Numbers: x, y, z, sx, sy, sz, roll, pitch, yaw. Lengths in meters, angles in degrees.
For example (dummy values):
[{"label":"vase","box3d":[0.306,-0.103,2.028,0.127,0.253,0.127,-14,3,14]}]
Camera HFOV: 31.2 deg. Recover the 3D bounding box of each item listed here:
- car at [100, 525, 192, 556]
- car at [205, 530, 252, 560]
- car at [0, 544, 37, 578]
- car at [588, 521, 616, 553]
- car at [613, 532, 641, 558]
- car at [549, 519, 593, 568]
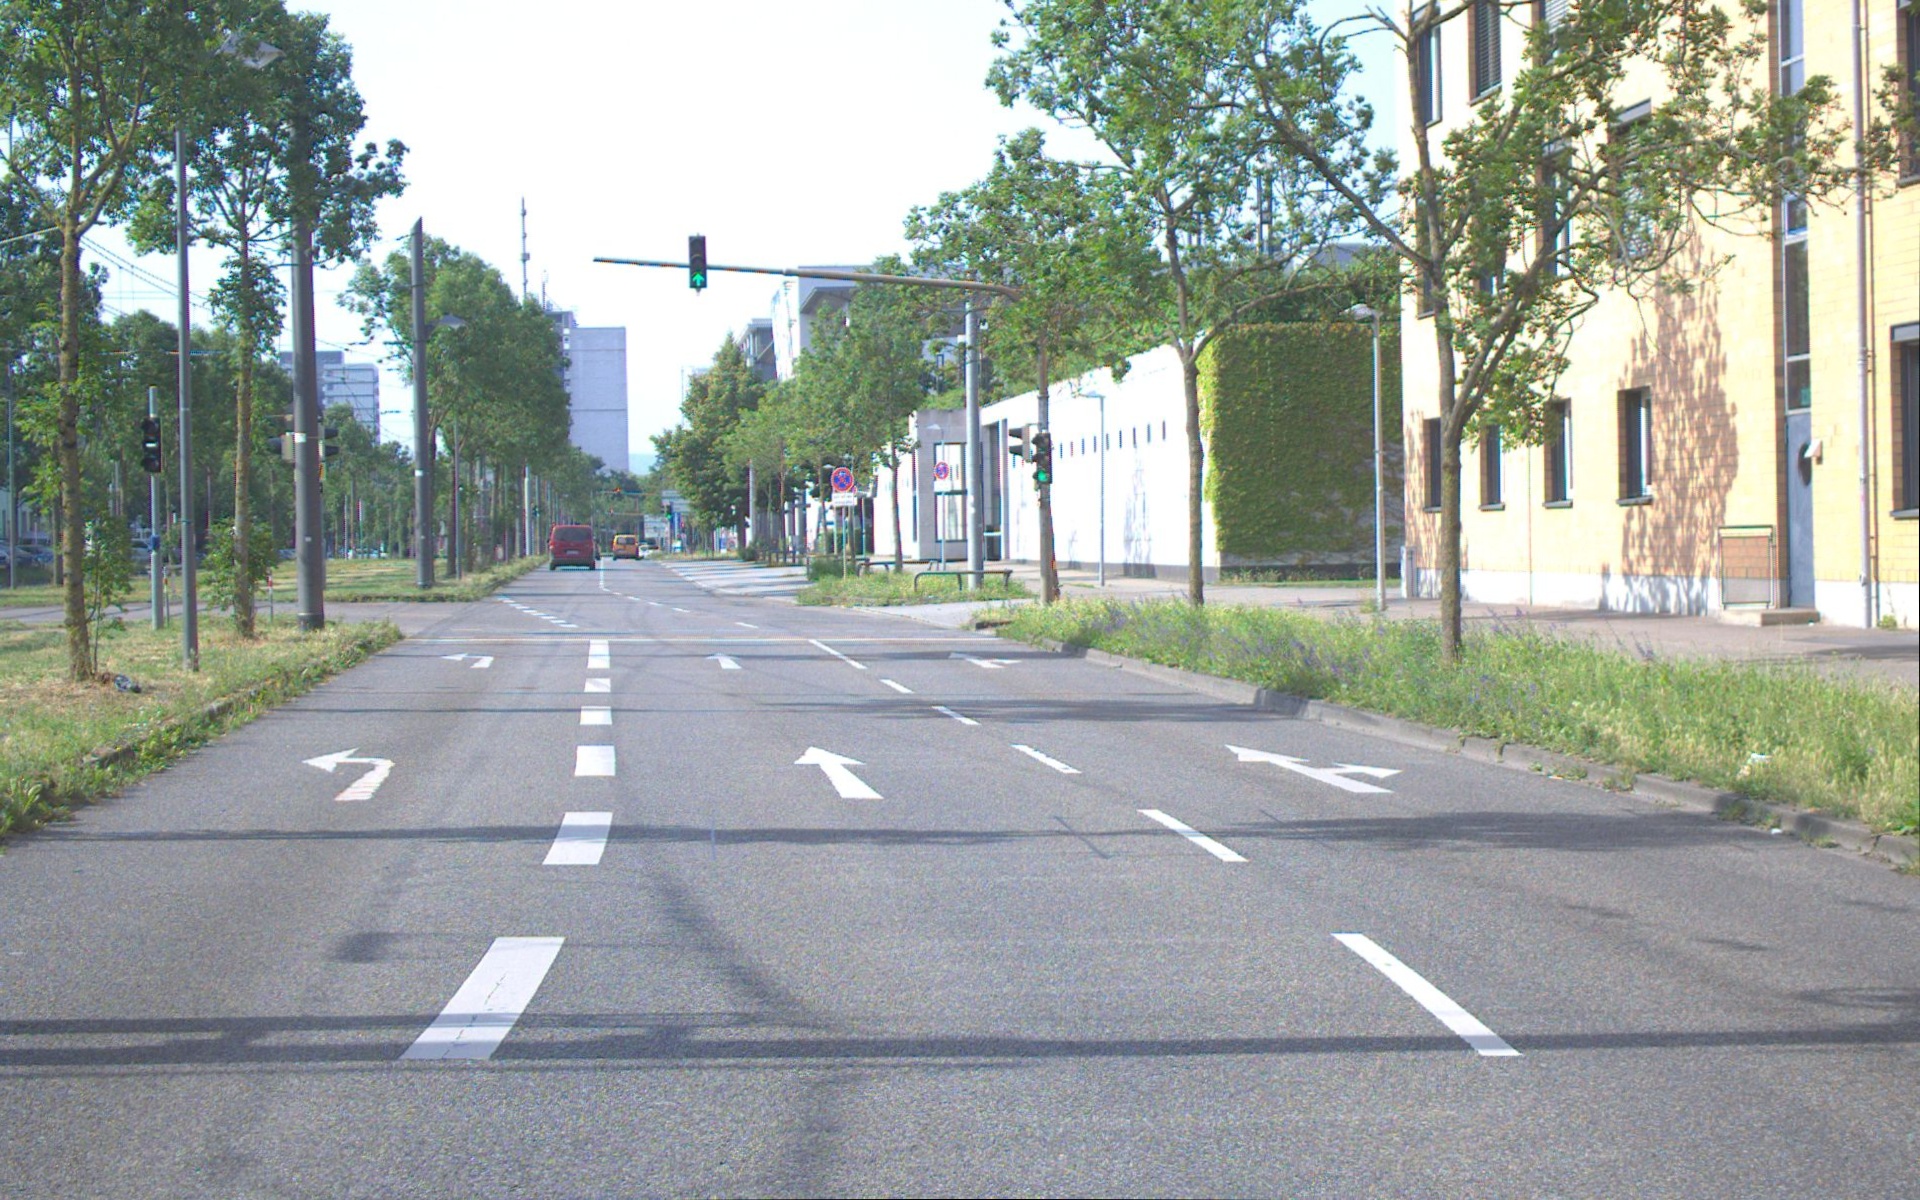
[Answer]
[{"label":"car","box3d":[-48.314,-3.528,203.932,5.318,1.732,1.997,1,1,28]},{"label":"car","box3d":[-42.340,-3.171,199.046,1.965,1.688,4.297,1,1,-2]},{"label":"car","box3d":[-40.878,-1.645,143.481,4.470,1.414,1.972,1,1,31]},{"label":"car","box3d":[-23.020,-4.017,221.098,1.748,2.007,3.216,1,1,-5]},{"label":"car","box3d":[-21.883,-3.604,225.925,1.748,1.645,3.216,1,1,-5]},{"label":"car","box3d":[-16.223,-2.338,143.482,1.748,2.007,3.216,1,1,-5]}]
